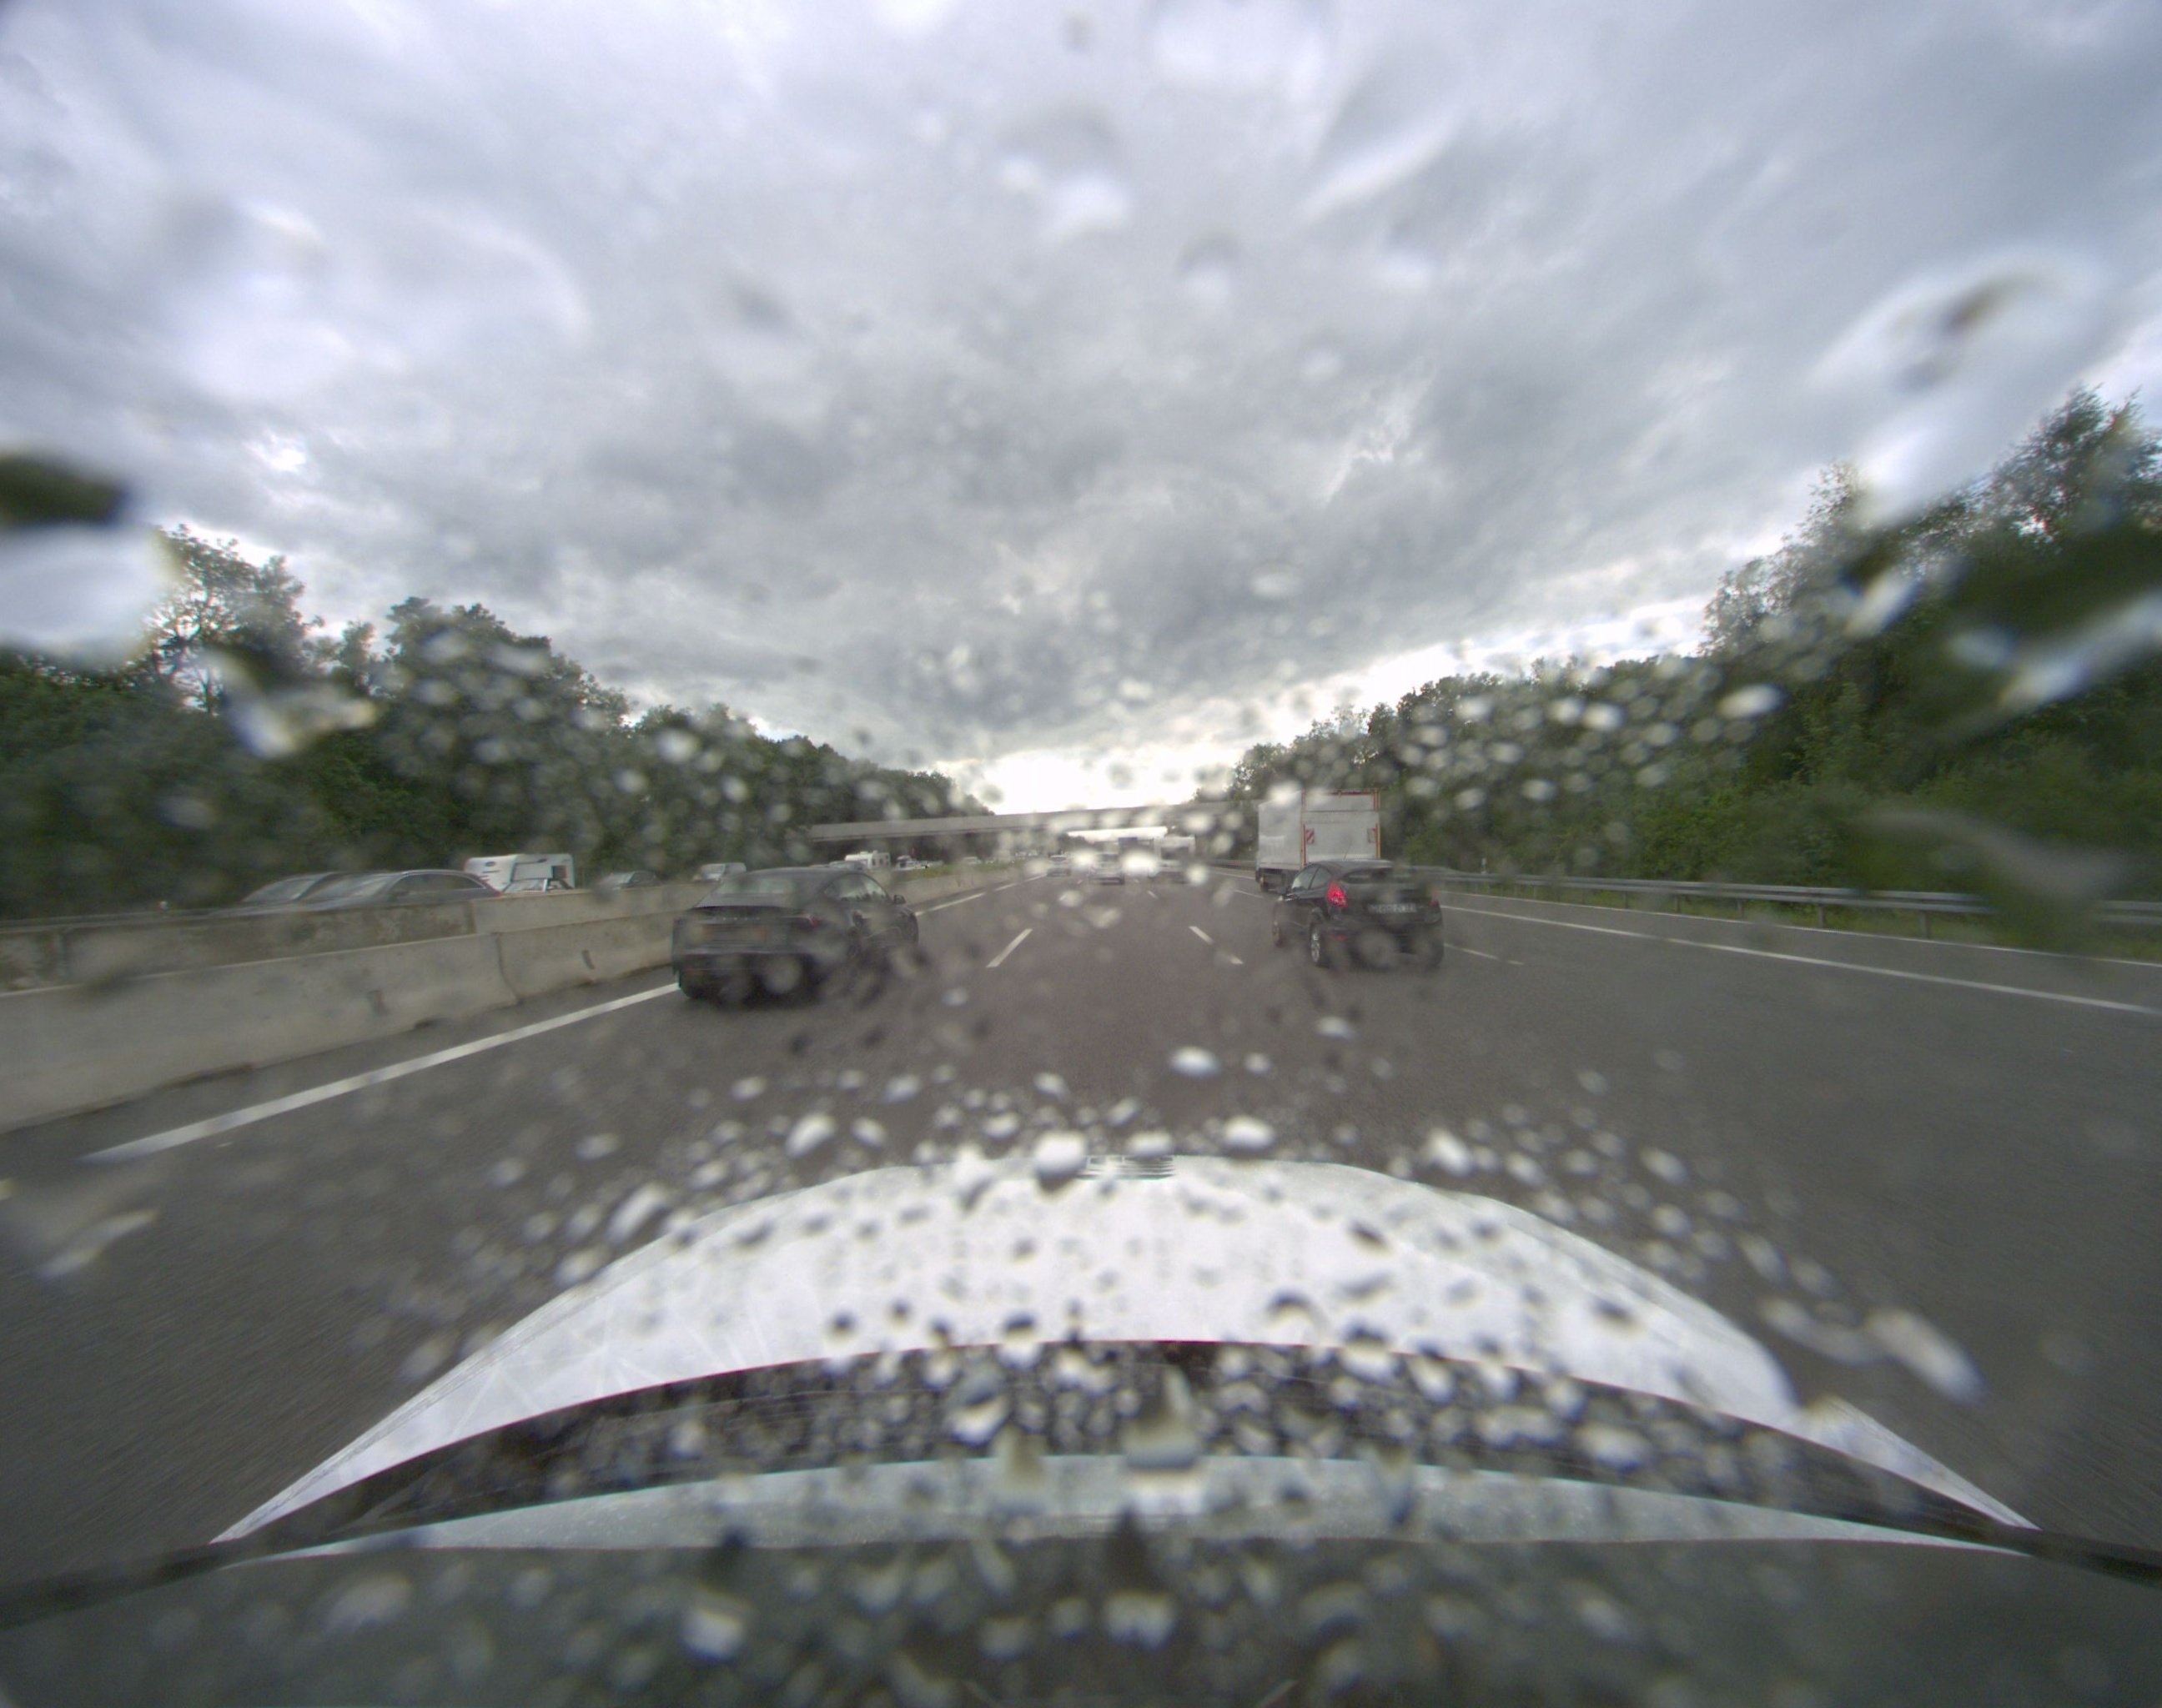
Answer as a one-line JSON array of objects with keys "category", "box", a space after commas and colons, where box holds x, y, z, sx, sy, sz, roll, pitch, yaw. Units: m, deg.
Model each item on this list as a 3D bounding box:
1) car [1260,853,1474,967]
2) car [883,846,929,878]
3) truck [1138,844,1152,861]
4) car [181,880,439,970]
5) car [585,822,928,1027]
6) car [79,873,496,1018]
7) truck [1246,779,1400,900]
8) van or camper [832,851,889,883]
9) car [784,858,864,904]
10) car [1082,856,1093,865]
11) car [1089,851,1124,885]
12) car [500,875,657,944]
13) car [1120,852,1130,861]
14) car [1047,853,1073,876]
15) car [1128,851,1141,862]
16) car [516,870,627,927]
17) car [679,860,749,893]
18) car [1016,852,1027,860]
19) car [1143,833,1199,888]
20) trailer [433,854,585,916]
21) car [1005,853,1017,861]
[{"category": "car", "box": [4.085, 0.704, 12.443, 1.878, 1.407, 4.284, -1, 0, 2]}, {"category": "car", "box": [-12.495, 0.533, 58.600, 1.986, 2.181, 5.291, -1, 0, 2]}, {"category": "truck", "box": [14.913, -0.411, 190.711, 2.895, 3.810, 7.277, -1, 0, 2]}, {"category": "car", "box": [-20.790, 1.806, 22.388, 1.986, 1.952, 5.227, -1, 0, 2]}, {"category": "car", "box": [-3.421, 0.630, 9.945, 1.986, 1.821, 5.164, -1, 0, 1]}, {"category": "car", "box": [-13.582, 1.414, 14.615, 2.234, 1.952, 5.227, -1, 0, 2]}, {"category": "truck", "box": [8.578, -0.469, 30.436, 3.121, 3.709, 9.853, -1, 0, 2]}, {"category": "van or camper", "box": [-19.496, 1.085, 72.430, 2.595, 2.707, 8.128, -1, 0, 2]}, {"category": "car", "box": [-12.064, 1.203, 38.646, 1.986, 1.952, 5.227, -1, 0, 2]}, {"category": "car", "box": [1.145, 1.186, 141.044, 1.774, 1.481, 4.354, -1, 0, 1]}, {"category": "car", "box": [1.421, 0.732, 45.055, 1.774, 1.716, 4.355, -1, 0, 2]}, {"category": "car", "box": [-16.997, 1.802, 27.944, 1.986, 1.952, 5.227, -1, 0, 2]}, {"category": "car", "box": [9.708, 0.587, 177.992, 2.036, 1.823, 4.906, -1, 0, 2]}, {"category": "car", "box": [-1.670, 0.818, 66.485, 1.808, 1.689, 4.855, -2, 0, 2]}, {"category": "car", "box": [8.853, 0.427, 134.824, 2.036, 1.823, 4.906, -1, 0, 2]}, {"category": "car", "box": [-20.448, 1.735, 32.890, 1.810, 2.013, 4.002, -1, 0, 2]}, {"category": "car", "box": [-23.553, 1.394, 52.481, 1.986, 1.952, 5.227, -1, 0, 2]}, {"category": "car", "box": [-13.837, 0.457, 189.624, 1.987, 2.013, 4.000, -1, 0, 0]}, {"category": "car", "box": [5.161, 0.340, 47.801, 2.558, 2.895, 7.535, -1, 0, 1]}, {"category": "trailer", "box": [-24.267, 1.213, 34.920, 2.234, 2.374, 5.786, -1, 0, 2]}, {"category": "car", "box": [-16.711, 0.703, 194.568, 2.212, 1.952, 4.830, -1, 0, 2]}]
